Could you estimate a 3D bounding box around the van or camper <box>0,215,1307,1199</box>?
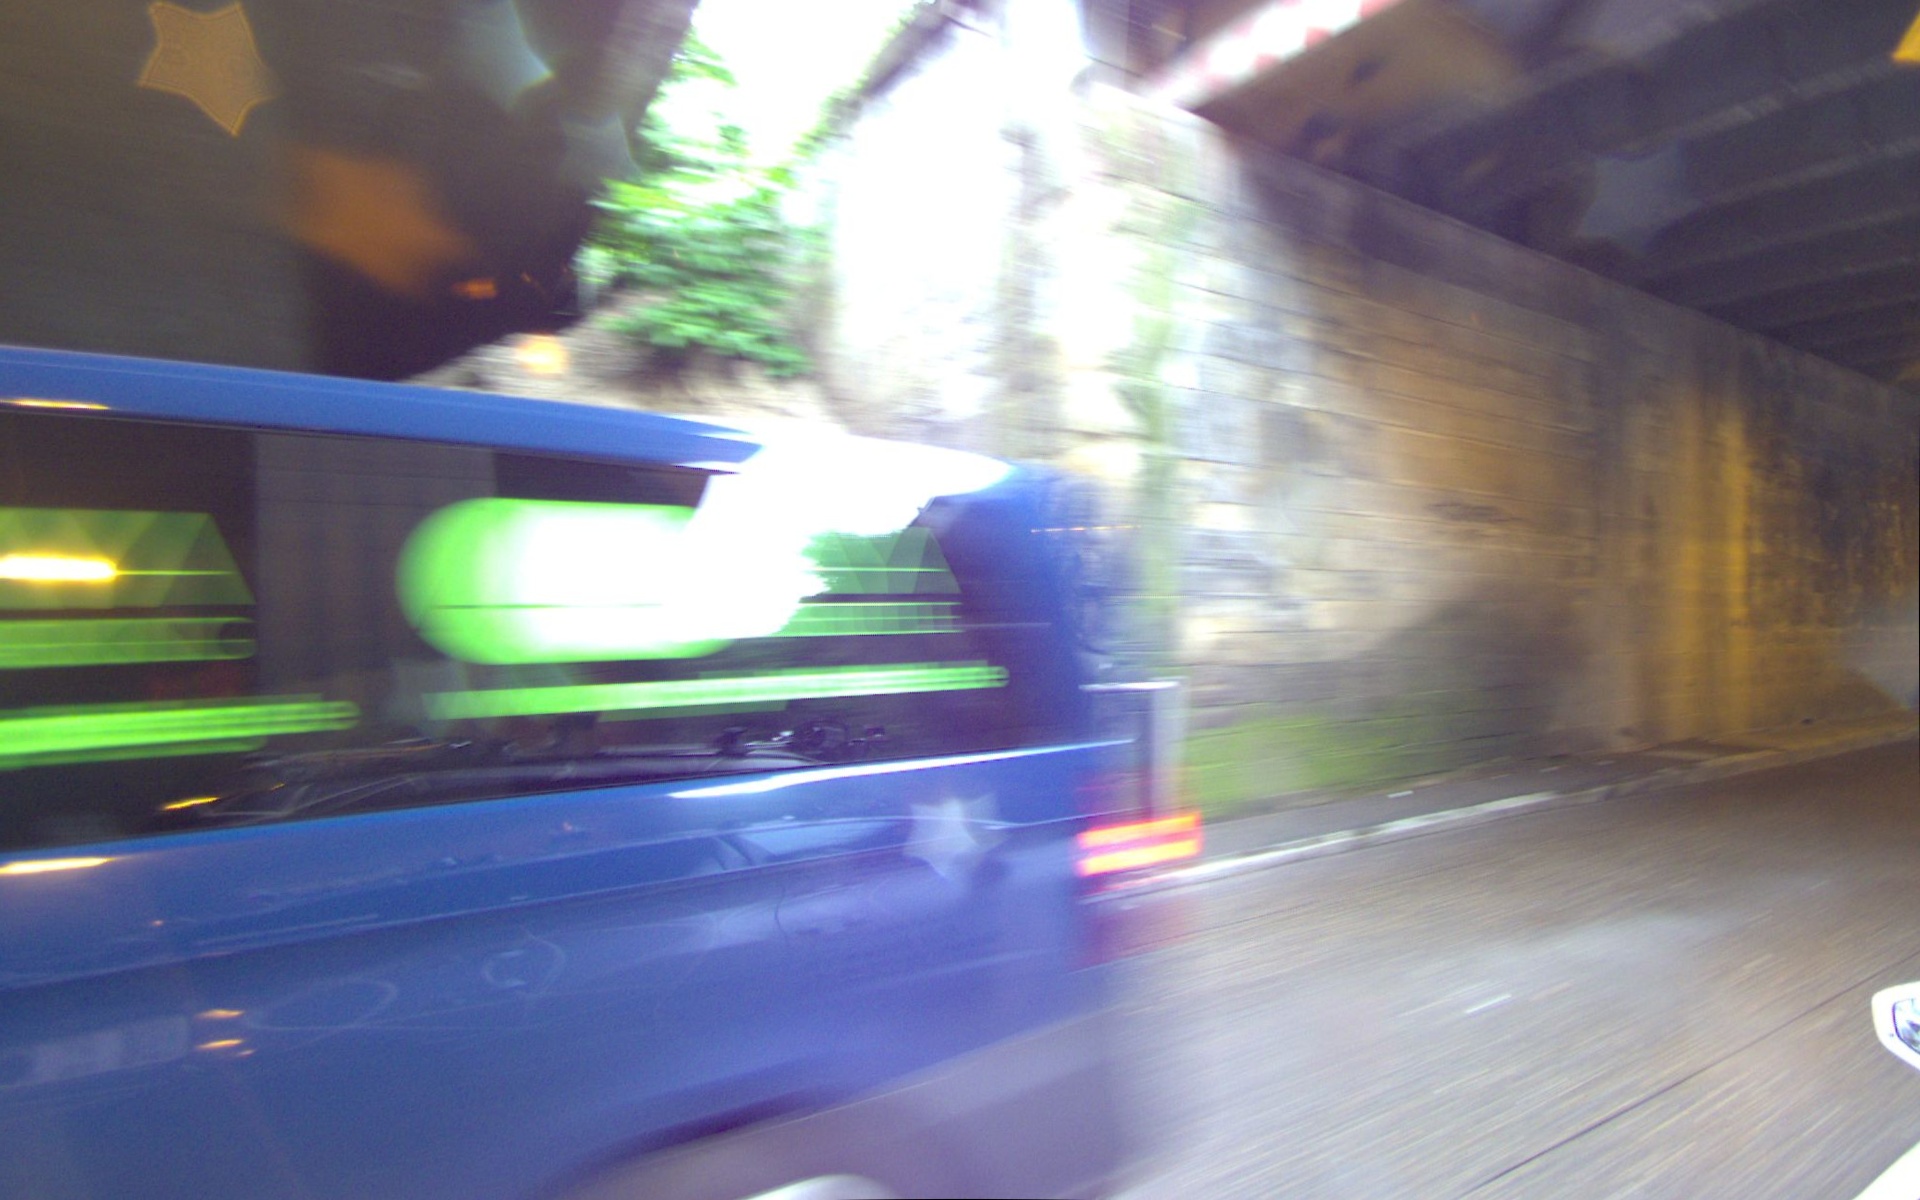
[{"bbox_3d":[-1.983,0.531,1.747,5.074,1.893,1.986,1,-1,-28],"label":"van or camper"}]
